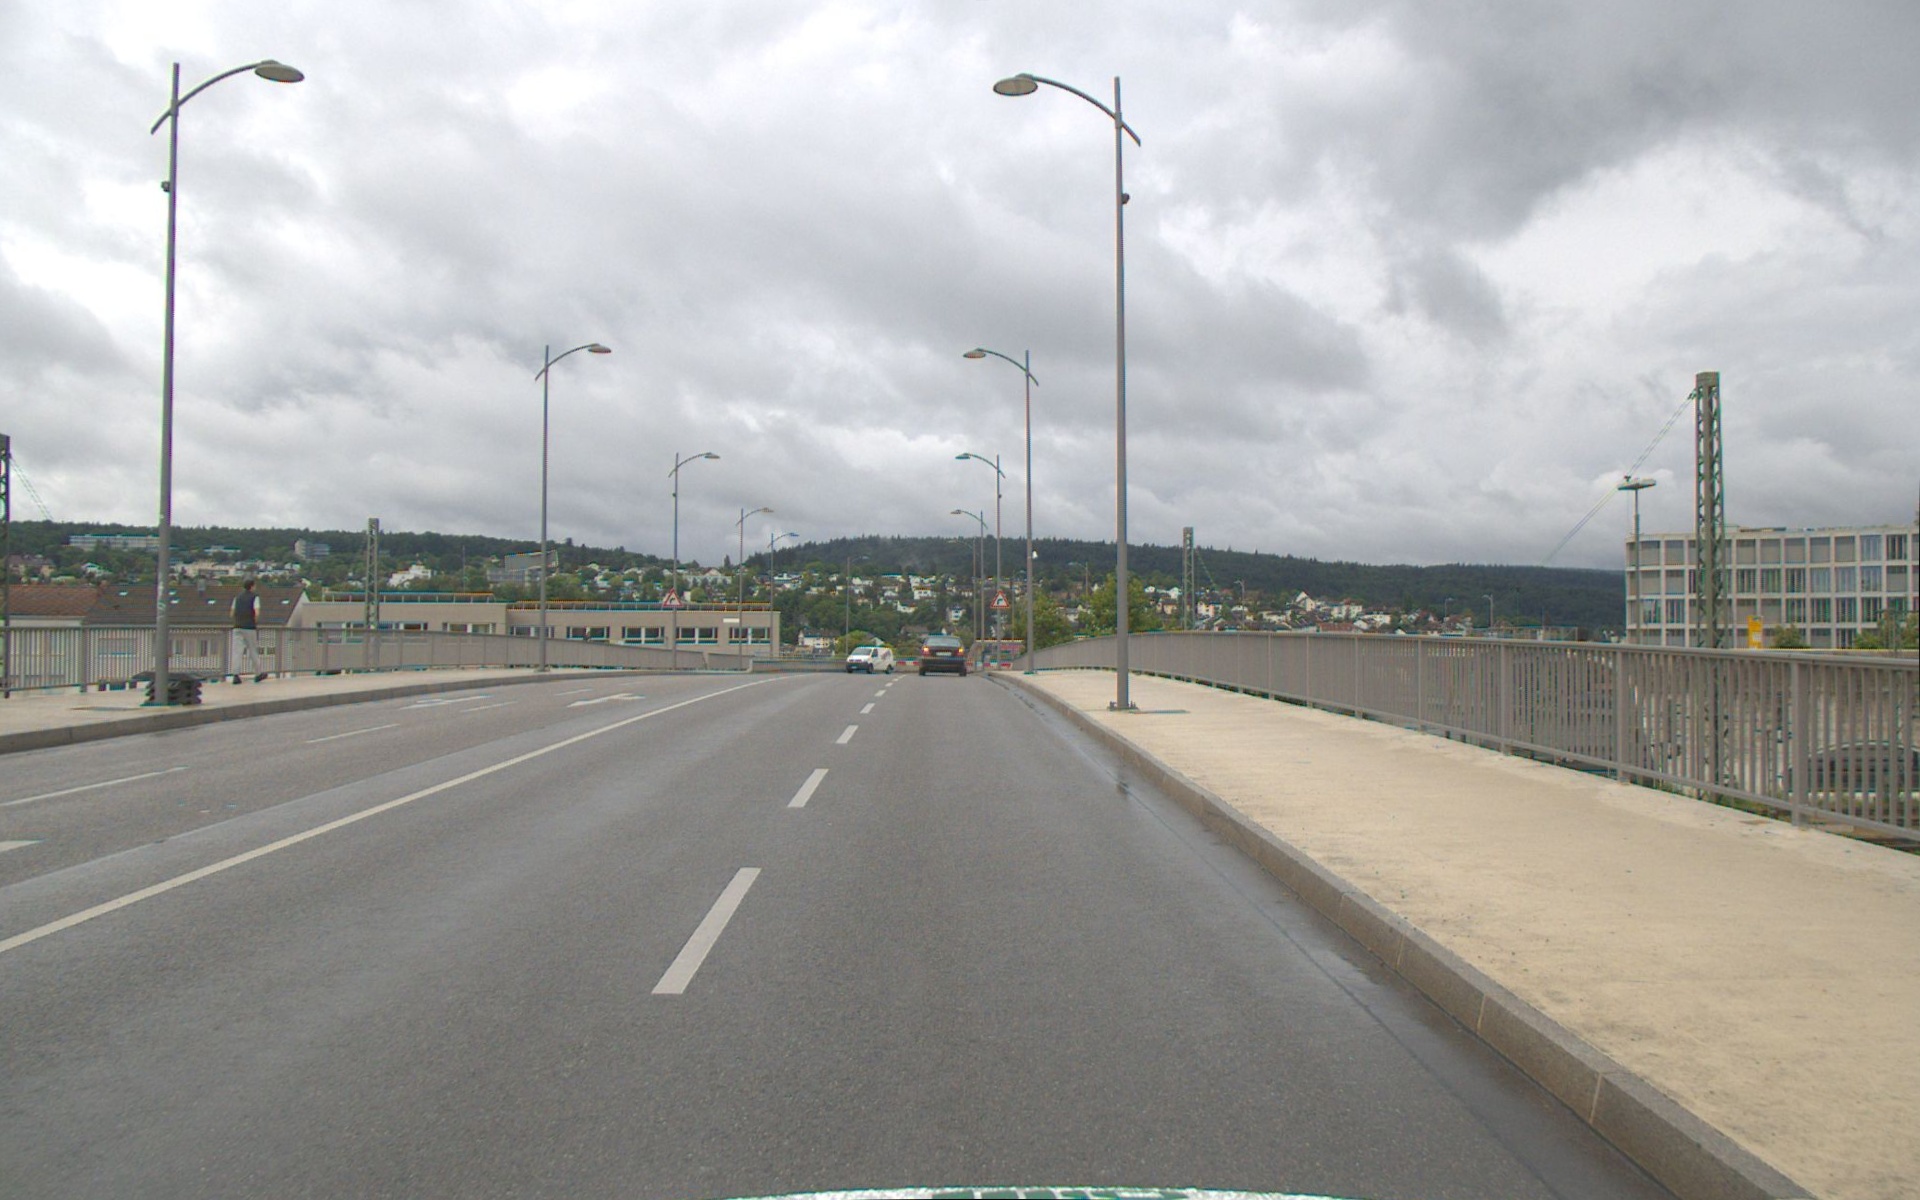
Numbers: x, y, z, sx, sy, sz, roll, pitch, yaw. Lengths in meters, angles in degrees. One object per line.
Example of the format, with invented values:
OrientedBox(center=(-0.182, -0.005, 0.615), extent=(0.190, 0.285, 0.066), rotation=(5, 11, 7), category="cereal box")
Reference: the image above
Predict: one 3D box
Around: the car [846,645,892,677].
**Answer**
OrientedBox(center=(-6.716, 4.574, 122.871), extent=(1.912, 2.135, 4.091), rotation=(-3, -5, 21), category="car")

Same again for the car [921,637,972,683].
OrientedBox(center=(-0.474, 2.060, 57.865), extent=(1.718, 1.505, 3.999), rotation=(0, -1, -1), category="car")

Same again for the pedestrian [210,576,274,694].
OrientedBox(center=(-12.892, 0.619, 29.722), extent=(0.741, 2.084, 0.891), rotation=(0, -1, -1), category="pedestrian")
